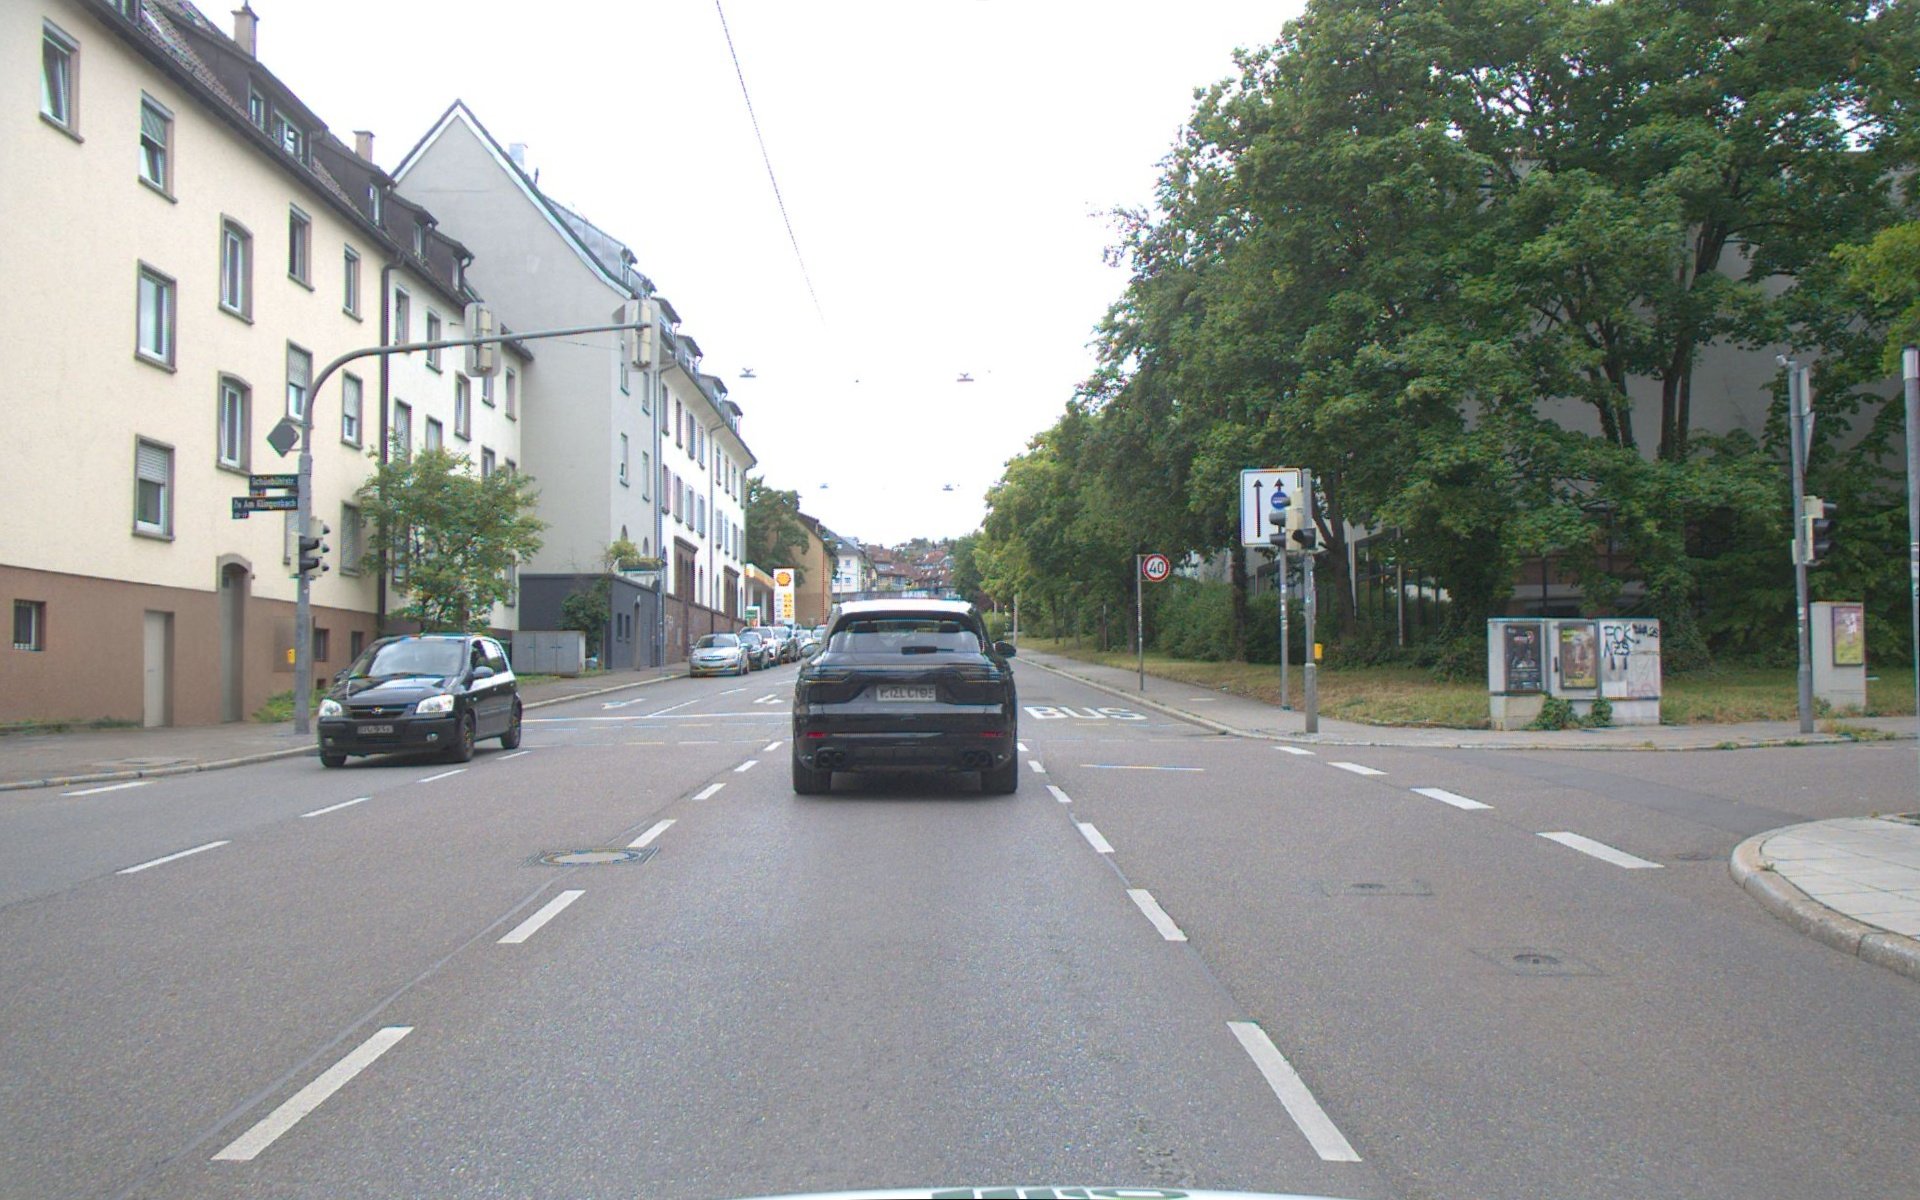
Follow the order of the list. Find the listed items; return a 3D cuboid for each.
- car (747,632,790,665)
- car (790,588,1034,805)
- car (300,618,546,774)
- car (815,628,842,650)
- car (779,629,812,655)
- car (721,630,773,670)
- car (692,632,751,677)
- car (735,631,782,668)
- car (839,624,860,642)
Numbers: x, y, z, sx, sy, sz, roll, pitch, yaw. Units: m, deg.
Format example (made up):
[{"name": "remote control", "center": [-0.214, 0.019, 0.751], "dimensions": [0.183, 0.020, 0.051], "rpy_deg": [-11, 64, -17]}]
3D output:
[{"name": "car", "center": [-8.557, 2.150, 74.129], "dimensions": [1.636, 1.386, 3.998], "rpy_deg": [0, 0, -3]}, {"name": "car", "center": [-0.418, 0.784, 15.407], "dimensions": [1.953, 1.726, 3.999], "rpy_deg": [1, 0, -1]}, {"name": "car", "center": [-6.269, 1.059, 19.741], "dimensions": [1.630, 1.545, 3.739], "rpy_deg": [-4, 0, 0]}, {"name": "car", "center": [-8.877, 2.598, 111.940], "dimensions": [1.636, 1.386, 3.998], "rpy_deg": [0, 0, -3]}, {"name": "car", "center": [-9.326, 2.353, 94.101], "dimensions": [1.636, 1.386, 3.998], "rpy_deg": [0, 0, -3]}, {"name": "car", "center": [-8.075, 1.873, 63.041], "dimensions": [1.636, 1.386, 3.998], "rpy_deg": [0, 0, -3]}, {"name": "car", "center": [-7.980, 1.809, 55.543], "dimensions": [1.637, 1.386, 3.997], "rpy_deg": [0, 0, -4]}, {"name": "car", "center": [-8.379, 2.042, 69.010], "dimensions": [1.636, 1.386, 3.998], "rpy_deg": [0, 0, -3]}, {"name": "car", "center": [-9.237, 2.729, 138.135], "dimensions": [1.636, 1.386, 3.998], "rpy_deg": [0, 0, -3]}]
